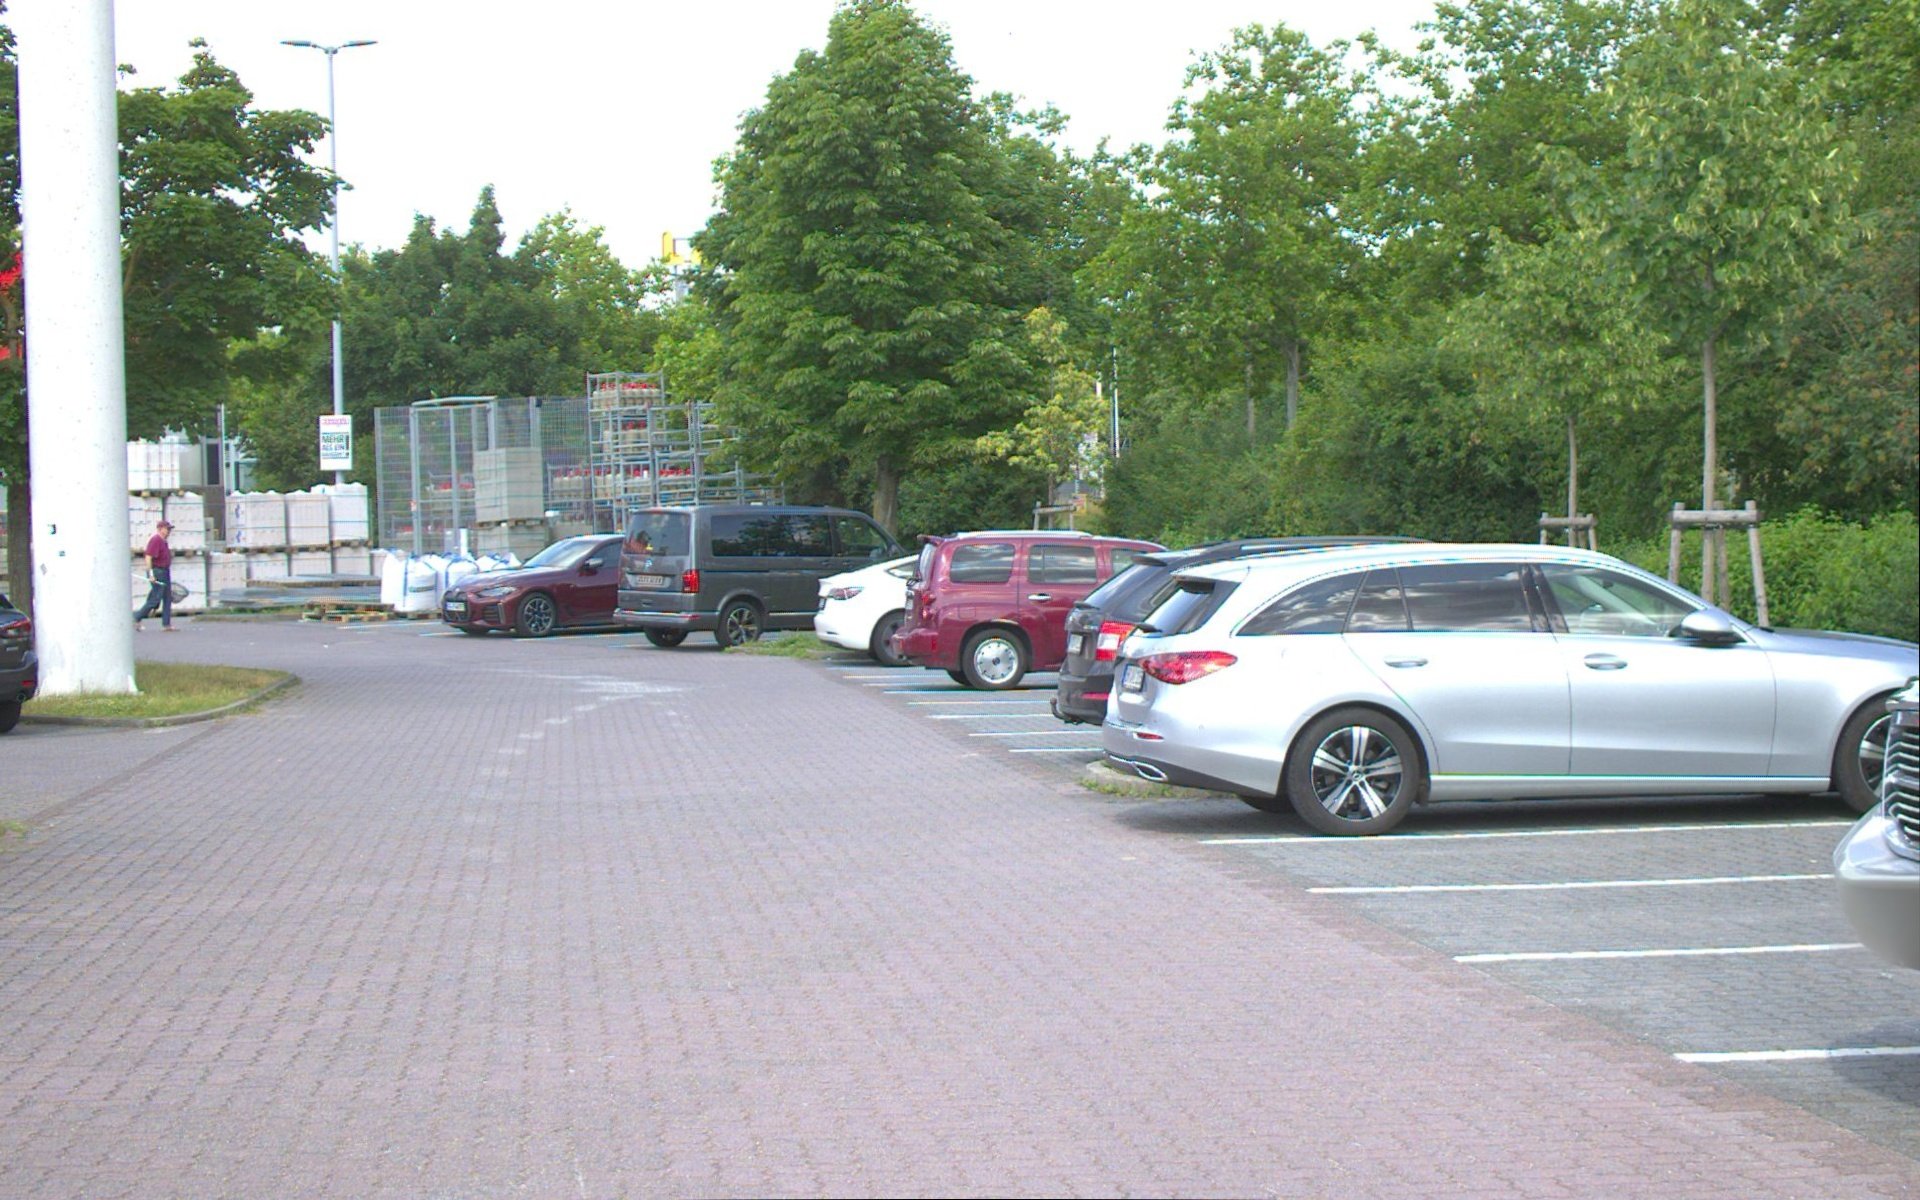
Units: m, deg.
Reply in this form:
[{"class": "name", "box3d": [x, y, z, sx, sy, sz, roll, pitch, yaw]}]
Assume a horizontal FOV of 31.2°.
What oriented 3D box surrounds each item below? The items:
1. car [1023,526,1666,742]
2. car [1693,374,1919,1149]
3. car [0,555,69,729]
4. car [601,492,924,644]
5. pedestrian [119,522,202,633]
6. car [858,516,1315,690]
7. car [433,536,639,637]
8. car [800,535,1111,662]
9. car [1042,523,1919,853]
[{"class": "car", "box3d": [2.526, 0.227, 23.089, 3.986, 1.376, 1.699, 0, -1, -8]}, {"class": "car", "box3d": [4.738, 0.301, 8.941, 5.130, 1.836, 1.991, -2, 1, -8]}, {"class": "car", "box3d": [-9.674, 0.372, 29.981, 1.823, 1.434, 4.088, -3, 2, -45]}, {"class": "car", "box3d": [-2.713, -0.423, 47.535, 4.045, 2.012, 1.947, 0, 0, -37]}, {"class": "pedestrian", "box3d": [-12.264, -0.348, 52.744, 0.920, 1.660, 0.784, -1, 1, 21]}, {"class": "car", "box3d": [1.239, -0.001, 34.875, 4.305, 1.590, 2.001, -2, 1, -8]}, {"class": "car", "box3d": [-6.262, -0.177, 50.771, 2.681, 1.427, 1.354, 1, -1, -33]}, {"class": "car", "box3d": [-0.083, -0.019, 42.283, 3.632, 1.463, 1.634, -1, 0, -7]}, {"class": "car", "box3d": [2.875, 0.405, 18.006, 4.638, 1.499, 1.785, -2, 1, -7]}]
